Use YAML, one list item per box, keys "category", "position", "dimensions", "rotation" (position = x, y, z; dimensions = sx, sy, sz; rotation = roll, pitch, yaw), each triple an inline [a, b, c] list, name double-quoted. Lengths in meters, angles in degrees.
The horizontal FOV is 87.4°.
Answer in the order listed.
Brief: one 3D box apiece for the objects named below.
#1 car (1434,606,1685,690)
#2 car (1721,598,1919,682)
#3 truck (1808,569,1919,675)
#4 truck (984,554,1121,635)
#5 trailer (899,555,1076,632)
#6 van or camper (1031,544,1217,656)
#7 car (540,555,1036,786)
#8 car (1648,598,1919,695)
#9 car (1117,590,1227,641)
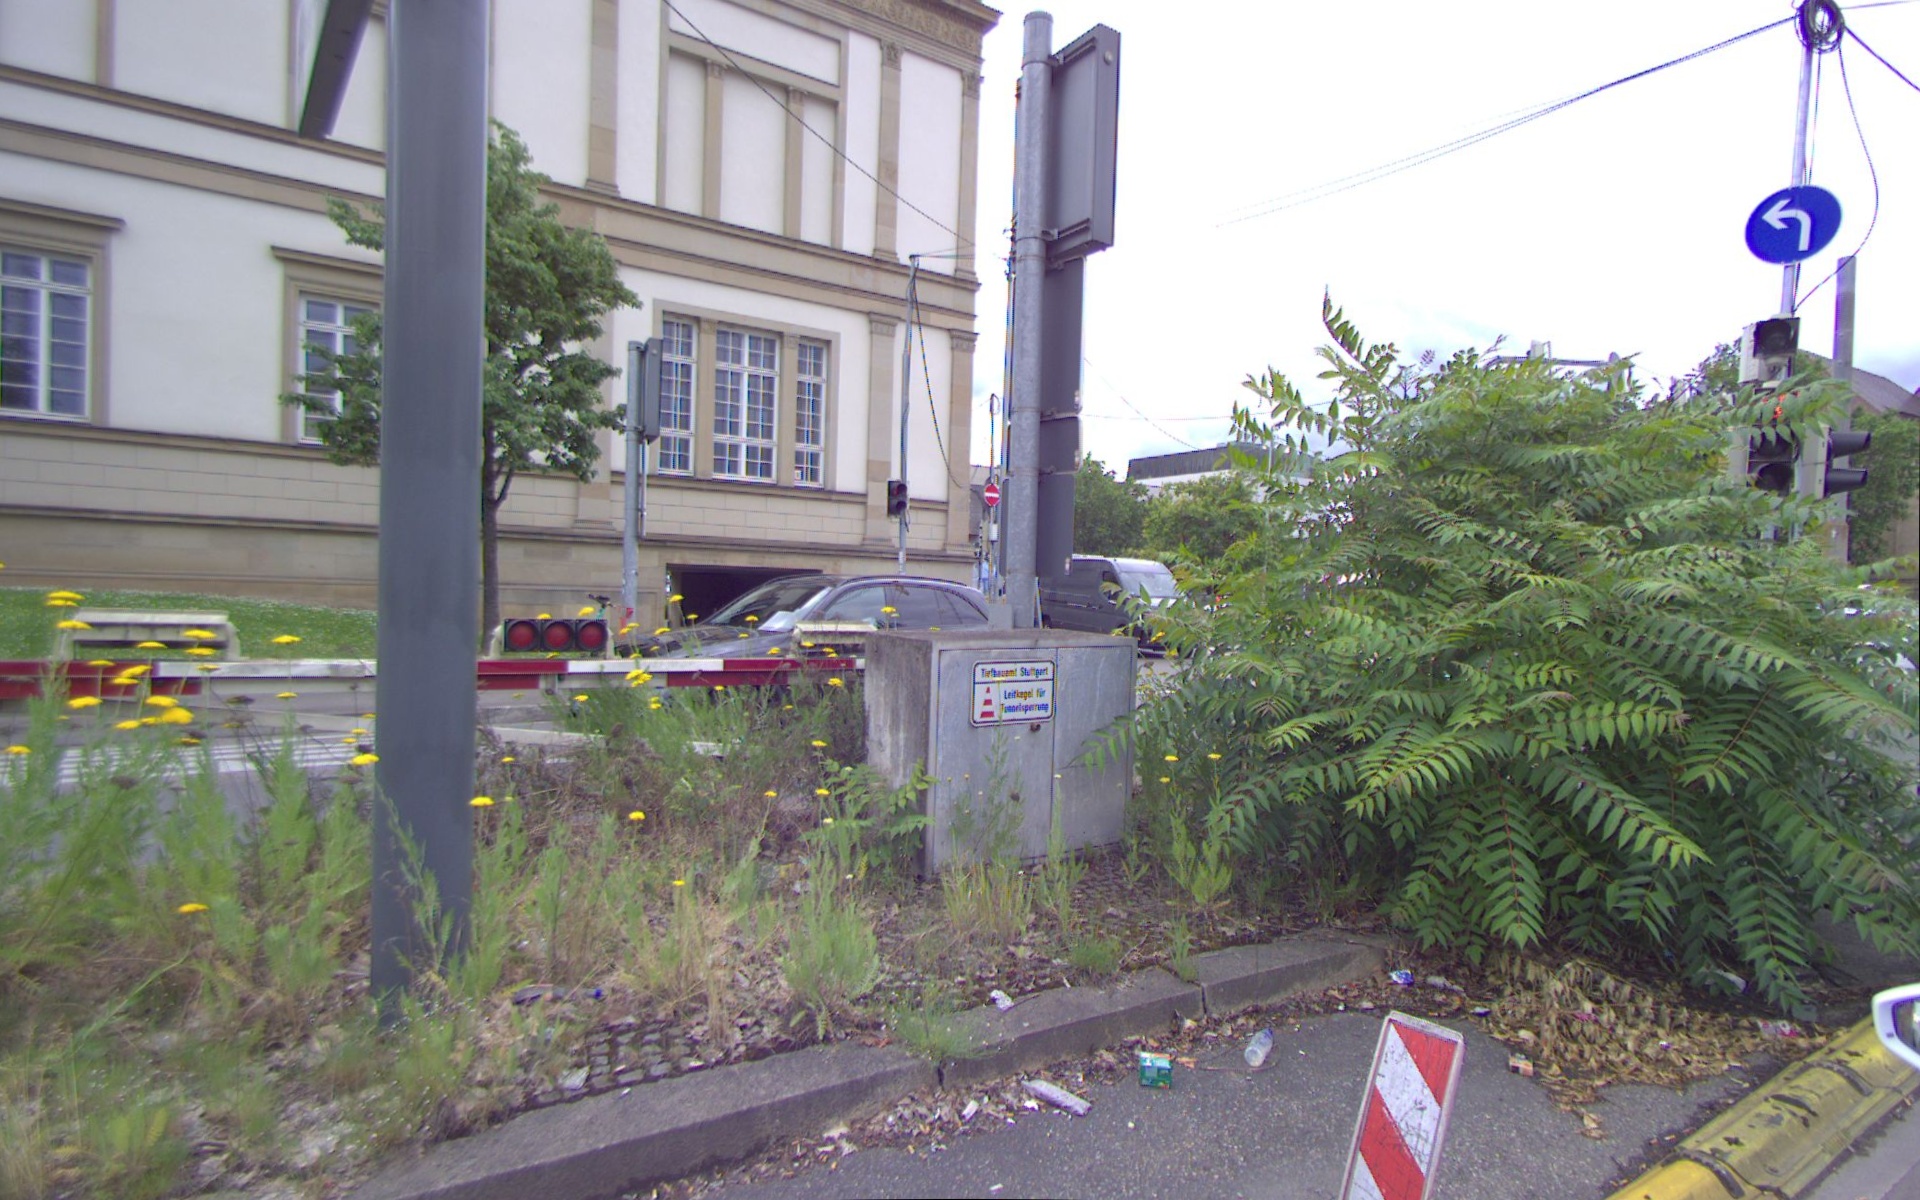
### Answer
- category: "car"
  position: [12.870, 0.963, 21.842]
  dimensions: [1.978, 1.560, 4.272]
  rotation: [2, 0, -31]
- category: "car"
  position: [21.607, 0.941, 24.810]
  dimensions: [1.986, 1.858, 4.203]
  rotation: [2, 0, -43]
- category: "truck"
  position: [47.254, 1.117, 48.364]
  dimensions: [9.594, 5.026, 3.101]
  rotation: [2, 0, 38]
- category: "truck"
  position: [3.353, -0.204, 36.904]
  dimensions: [2.839, 2.761, 4.170]
  rotation: [2, 0, -40]
- category: "trailer"
  position: [0.935, -0.268, 39.797]
  dimensions: [2.839, 2.761, 7.286]
  rotation: [2, 0, -40]
- category: "van or camper"
  position: [4.165, -0.014, 26.892]
  dimensions: [2.127, 2.645, 6.053]
  rotation: [1, 0, -21]
- category: "car"
  position: [-1.367, 0.536, 9.396]
  dimensions: [1.859, 1.647, 4.348]
  rotation: [2, 0, 42]
- category: "car"
  position: [17.125, 0.862, 20.526]
  dimensions: [1.978, 1.725, 4.646]
  rotation: [2, 0, -31]
- category: "car"
  position: [8.048, 0.563, 38.438]
  dimensions: [1.889, 1.763, 3.964]
  rotation: [2, 1, -32]
